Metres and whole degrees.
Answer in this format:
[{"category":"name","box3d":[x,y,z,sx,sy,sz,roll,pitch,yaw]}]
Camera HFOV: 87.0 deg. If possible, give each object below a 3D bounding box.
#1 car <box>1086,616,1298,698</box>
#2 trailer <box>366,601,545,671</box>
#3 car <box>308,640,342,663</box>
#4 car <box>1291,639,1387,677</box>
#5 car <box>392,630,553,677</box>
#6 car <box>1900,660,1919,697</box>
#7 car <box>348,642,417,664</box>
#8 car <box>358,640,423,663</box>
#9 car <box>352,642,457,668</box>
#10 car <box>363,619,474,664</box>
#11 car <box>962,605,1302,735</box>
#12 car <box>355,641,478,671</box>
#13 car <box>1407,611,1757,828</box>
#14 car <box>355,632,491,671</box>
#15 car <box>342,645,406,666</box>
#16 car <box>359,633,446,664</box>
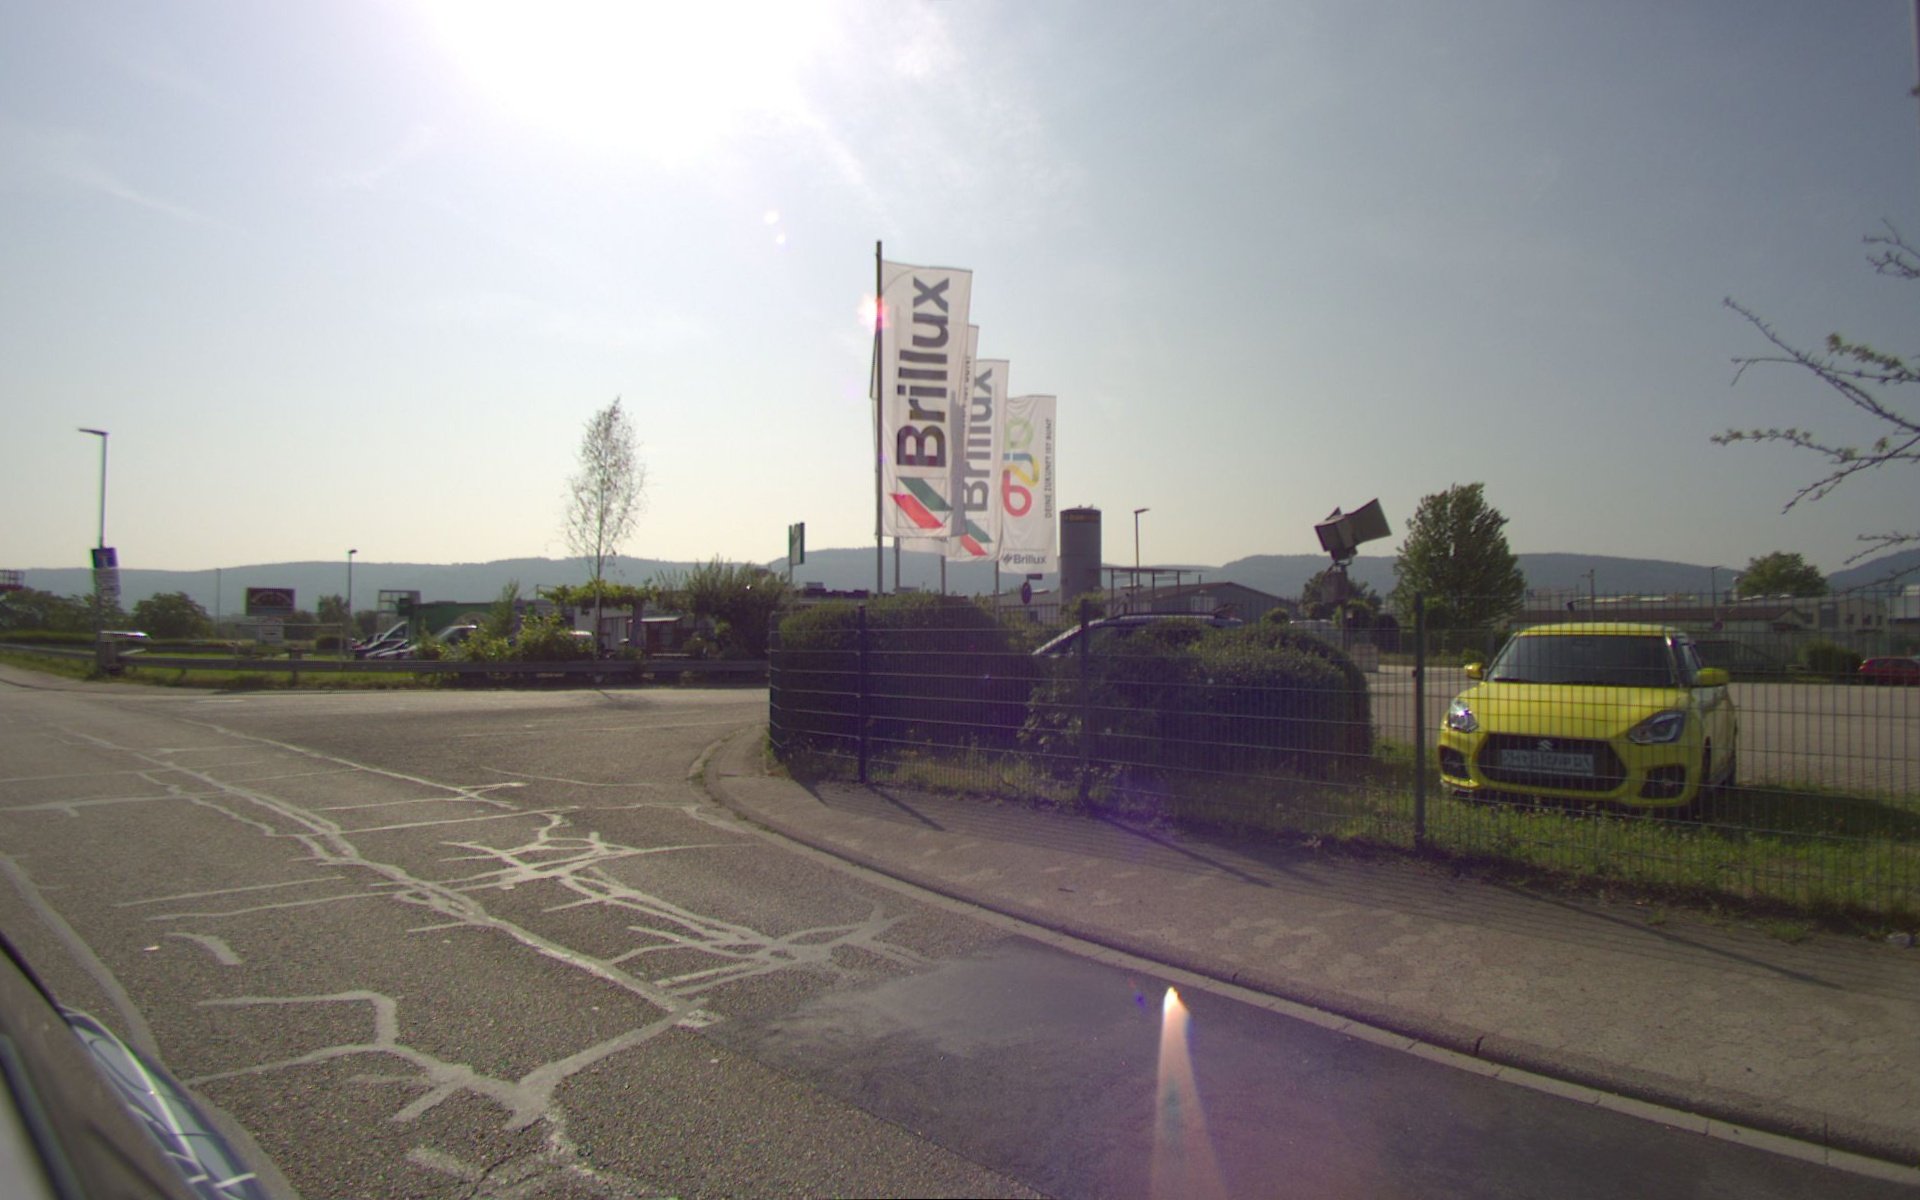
[{"category":"car","box3d":[5.469,1.322,23.842,4.584,1.765,2.158,2,-3,-28]},{"category":"trailer","box3d":[-20.854,1.555,41.955,6.222,2.625,2.861,3,-4,-35]},{"category":"car","box3d":[-59.272,4.801,94.440,1.969,2.029,4.163,4,-4,-41]},{"category":"car","box3d":[18.305,2.781,49.000,1.826,1.763,4.010,2,-3,-34]},{"category":"car","box3d":[-18.755,2.092,39.086,5.199,1.719,2.002,4,-4,-43]},{"category":"car","box3d":[46.704,3.689,47.250,3.998,1.719,1.767,-2,-3,41]},{"category":"car","box3d":[-37.523,3.451,65.760,3.696,1.399,1.733,3,-4,-35]},{"category":"car","box3d":[-39.032,3.552,69.418,3.628,1.533,1.688,3,-4,-38]},{"category":"car","box3d":[-28.477,2.863,51.924,4.616,1.228,1.836,3,-5,-30]},{"category":"car","box3d":[-30.479,2.376,56.993,5.314,2.391,2.300,3,-5,-30]},{"category":"car","box3d":[2.321,0.944,14.439,4.454,1.708,1.955,-1,0,5]},{"category":"car","box3d":[-25.066,2.623,46.785,4.882,1.328,1.784,3,-5,-30]},{"category":"car","box3d":[5.460,0.859,8.631,1.868,1.379,4.120,-2,-3,41]},{"category":"car","box3d":[-23.236,2.264,43.843,5.055,1.546,2.184,3,-5,-30]},{"category":"car","box3d":[-46.216,4.360,79.823,4.089,1.547,1.887,3,-4,-37]},{"category":"car","box3d":[-32.414,2.852,58.912,4.328,1.676,1.812,3,-5,-30]}]
